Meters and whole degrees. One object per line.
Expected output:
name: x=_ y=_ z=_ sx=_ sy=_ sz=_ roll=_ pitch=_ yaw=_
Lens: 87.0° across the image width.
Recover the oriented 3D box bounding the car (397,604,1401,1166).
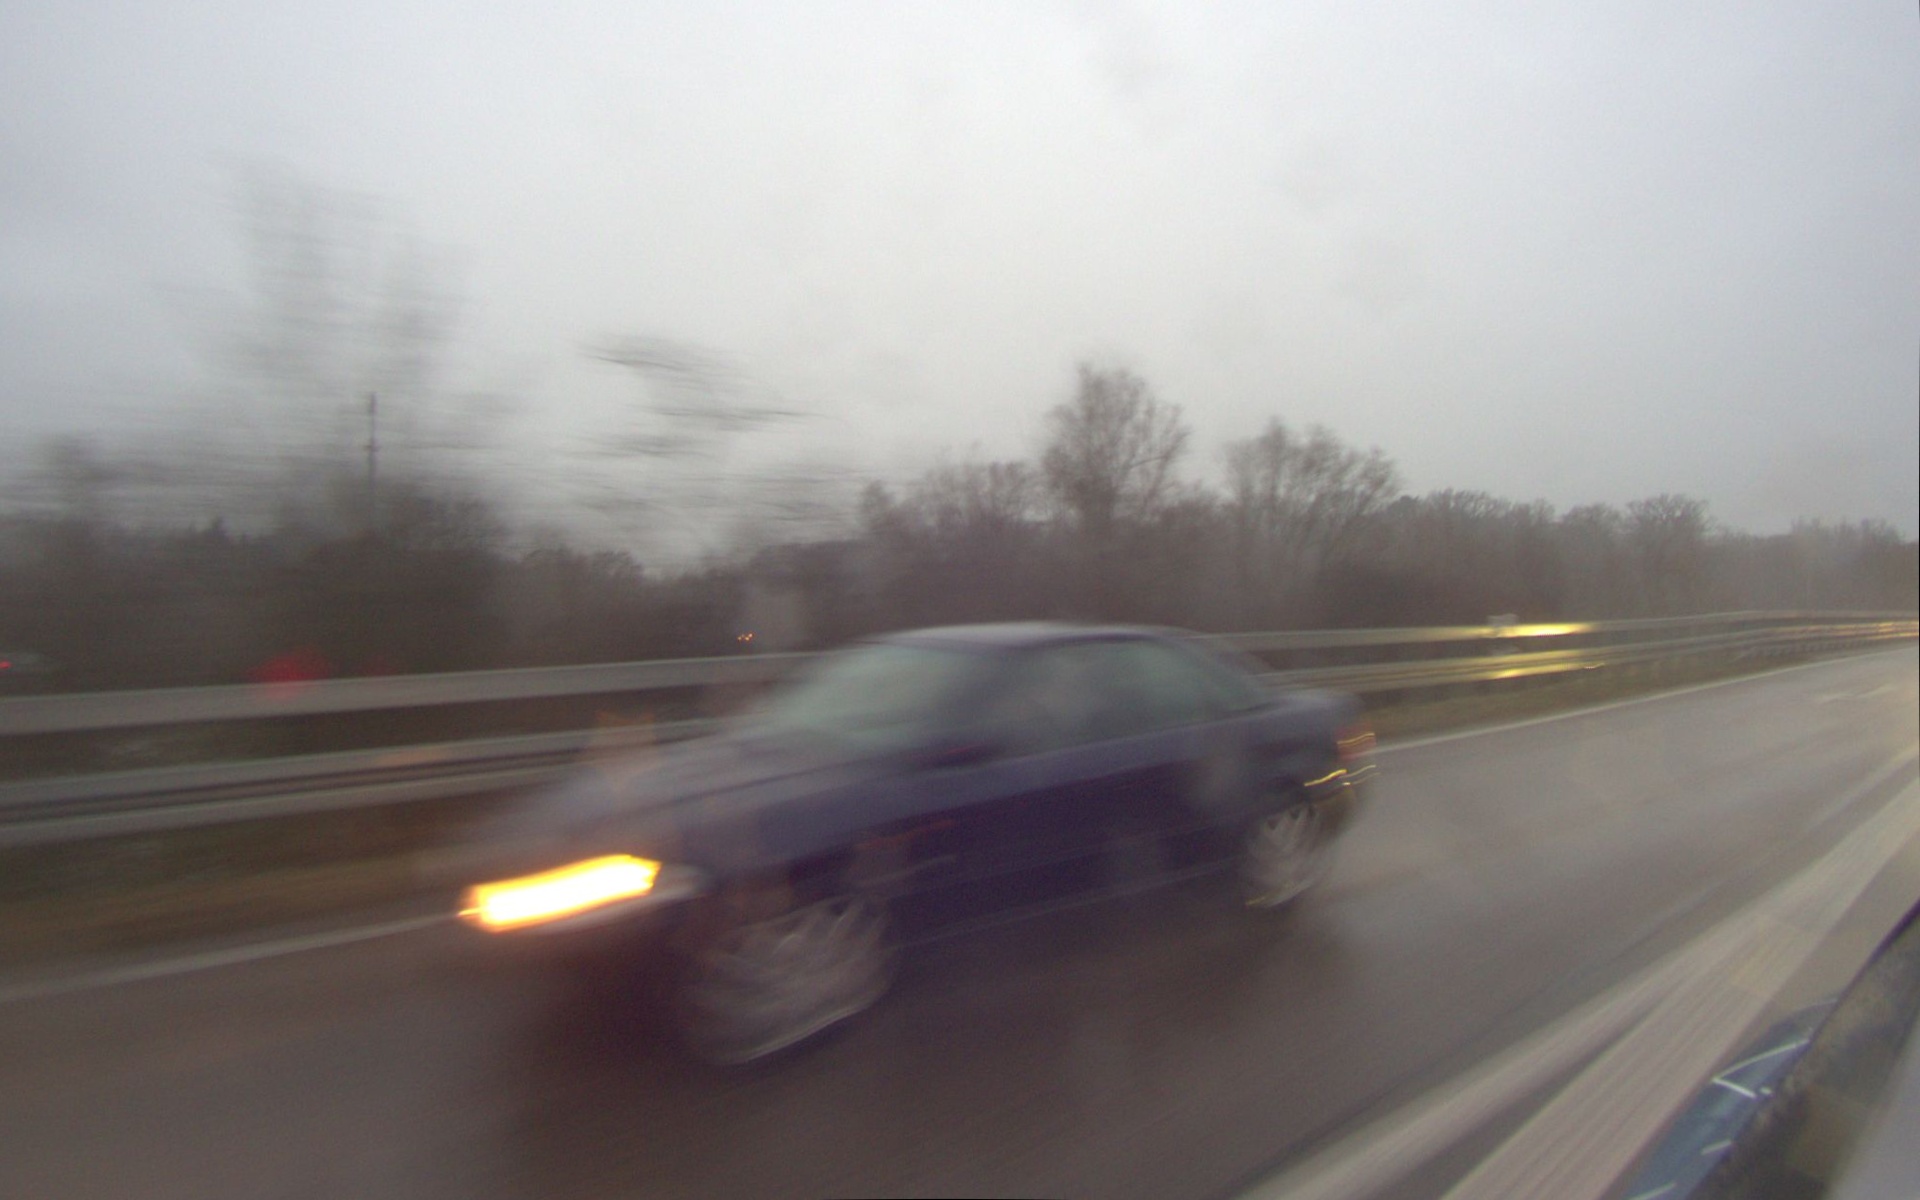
car: x=-0.018 y=0.763 z=4.606 sx=4.295 sy=1.433 sz=1.741 roll=0 pitch=-2 yaw=-36
